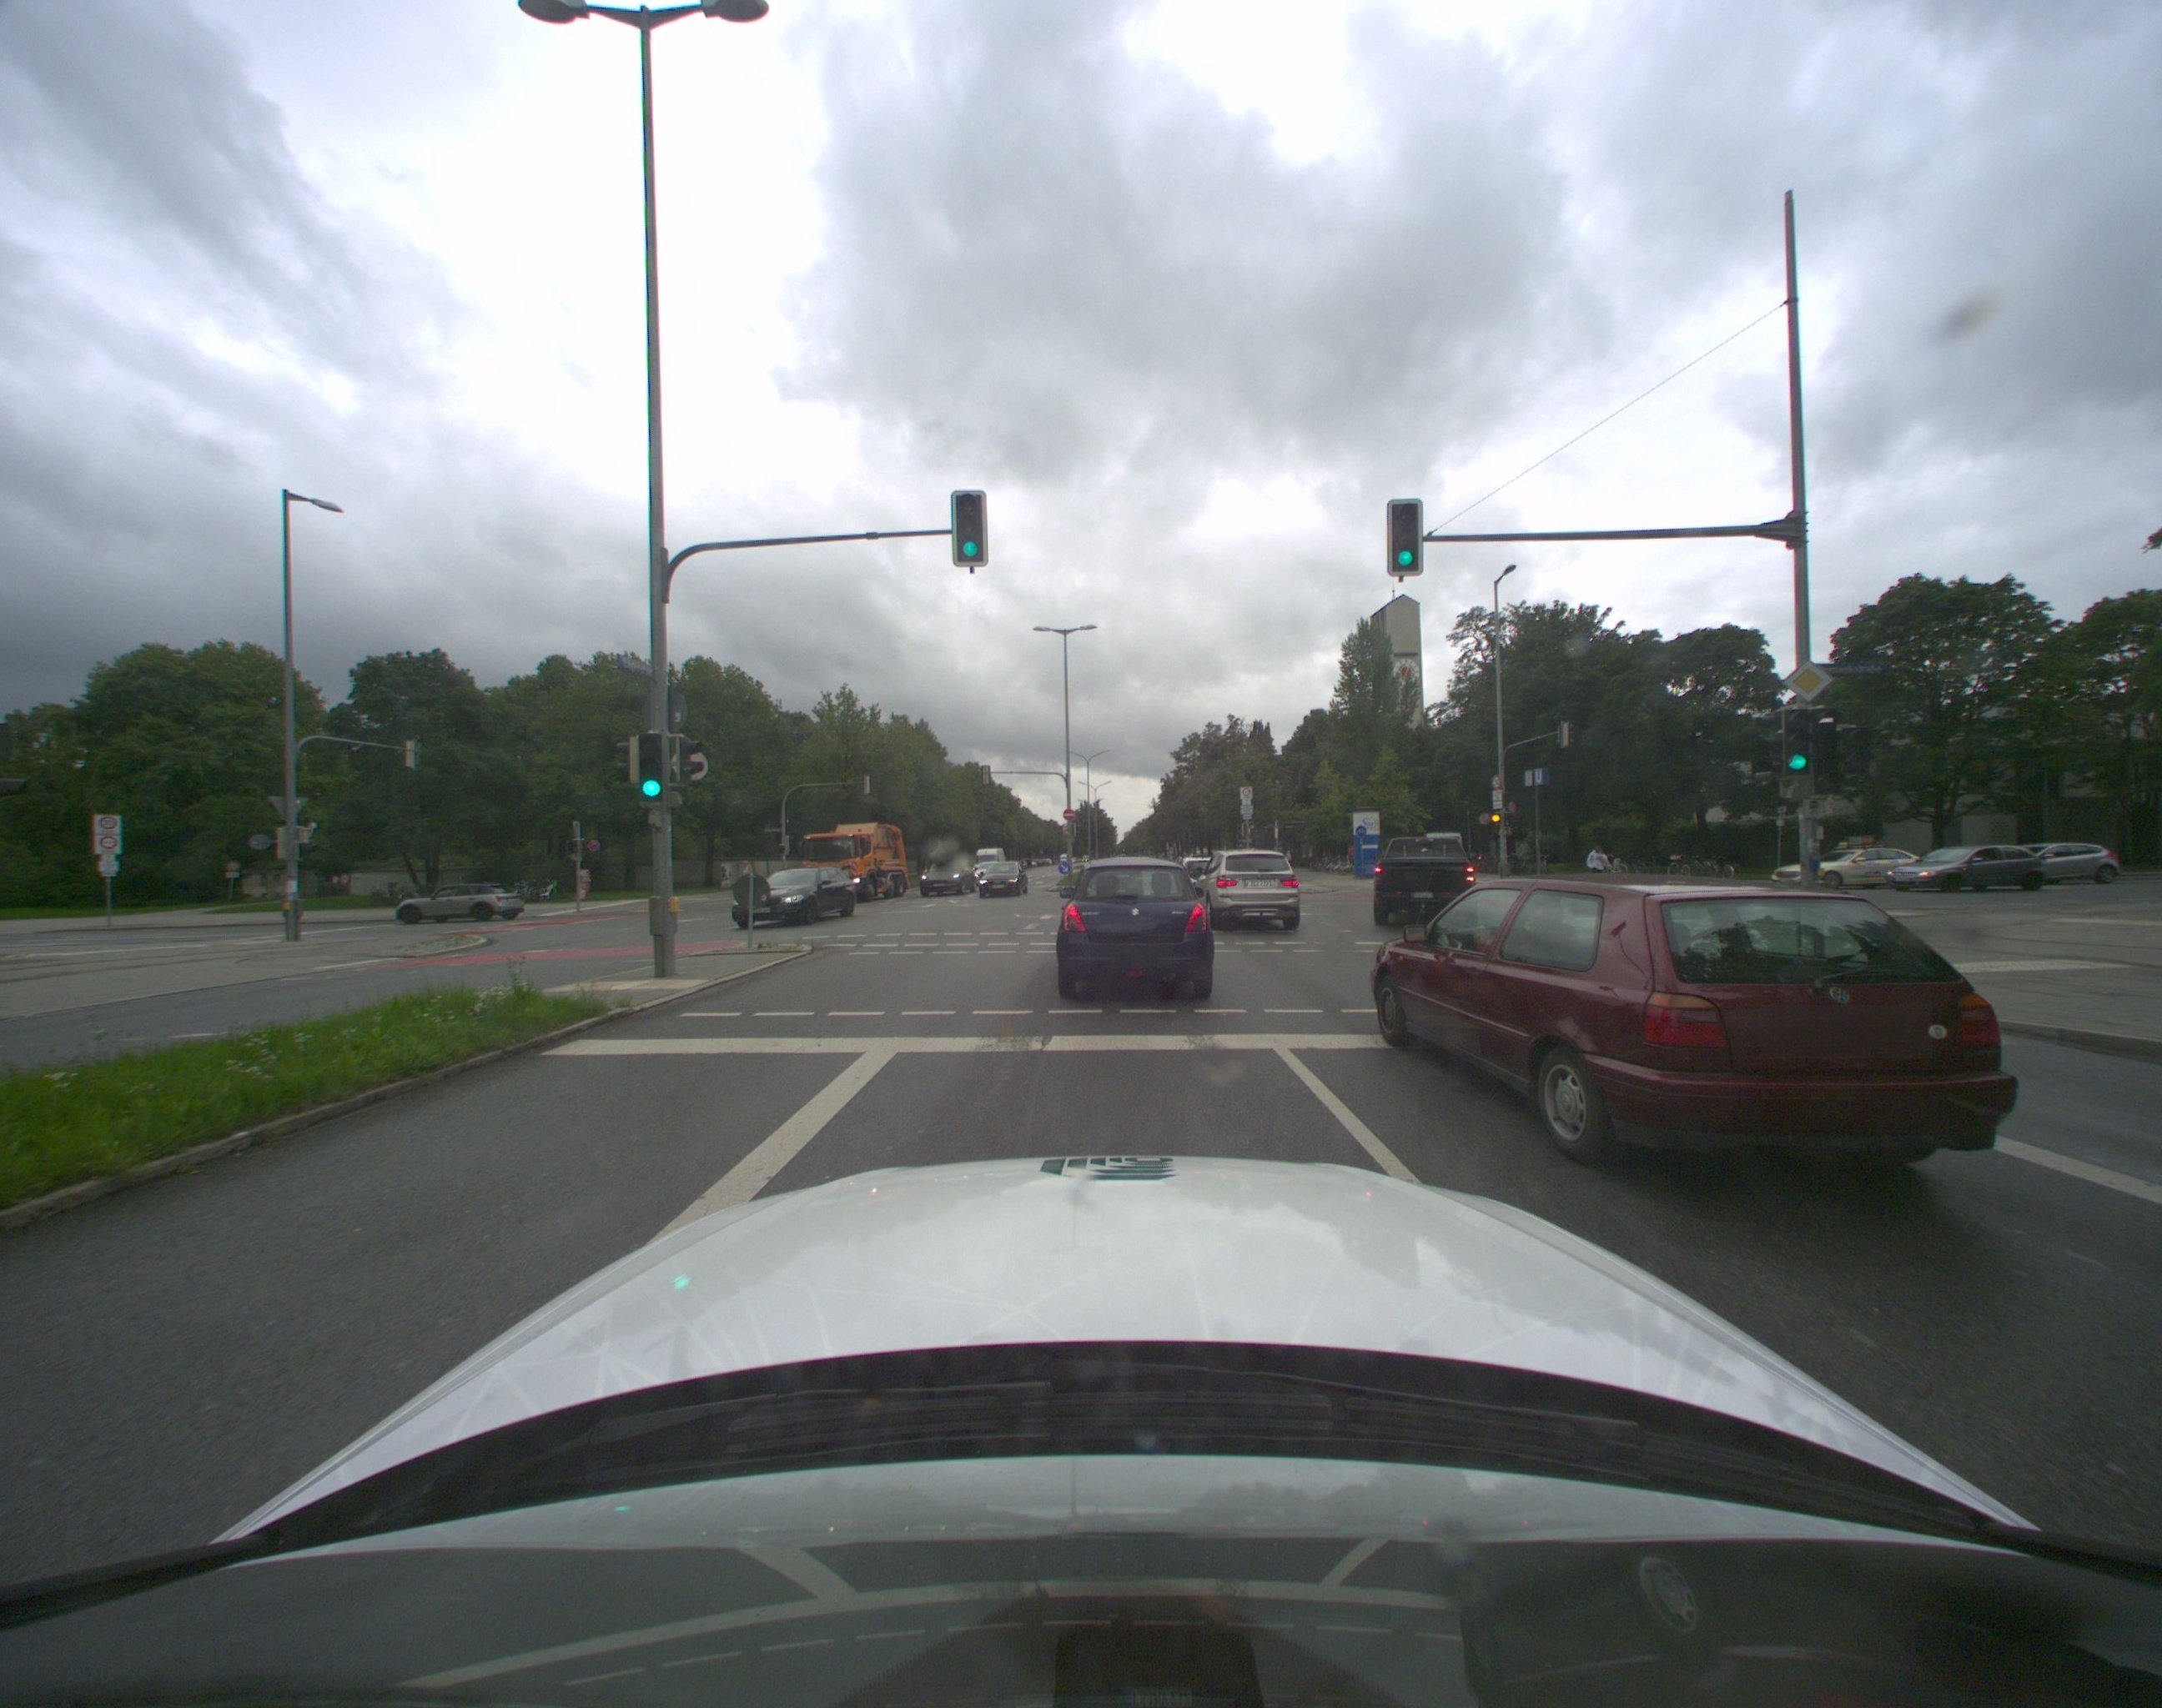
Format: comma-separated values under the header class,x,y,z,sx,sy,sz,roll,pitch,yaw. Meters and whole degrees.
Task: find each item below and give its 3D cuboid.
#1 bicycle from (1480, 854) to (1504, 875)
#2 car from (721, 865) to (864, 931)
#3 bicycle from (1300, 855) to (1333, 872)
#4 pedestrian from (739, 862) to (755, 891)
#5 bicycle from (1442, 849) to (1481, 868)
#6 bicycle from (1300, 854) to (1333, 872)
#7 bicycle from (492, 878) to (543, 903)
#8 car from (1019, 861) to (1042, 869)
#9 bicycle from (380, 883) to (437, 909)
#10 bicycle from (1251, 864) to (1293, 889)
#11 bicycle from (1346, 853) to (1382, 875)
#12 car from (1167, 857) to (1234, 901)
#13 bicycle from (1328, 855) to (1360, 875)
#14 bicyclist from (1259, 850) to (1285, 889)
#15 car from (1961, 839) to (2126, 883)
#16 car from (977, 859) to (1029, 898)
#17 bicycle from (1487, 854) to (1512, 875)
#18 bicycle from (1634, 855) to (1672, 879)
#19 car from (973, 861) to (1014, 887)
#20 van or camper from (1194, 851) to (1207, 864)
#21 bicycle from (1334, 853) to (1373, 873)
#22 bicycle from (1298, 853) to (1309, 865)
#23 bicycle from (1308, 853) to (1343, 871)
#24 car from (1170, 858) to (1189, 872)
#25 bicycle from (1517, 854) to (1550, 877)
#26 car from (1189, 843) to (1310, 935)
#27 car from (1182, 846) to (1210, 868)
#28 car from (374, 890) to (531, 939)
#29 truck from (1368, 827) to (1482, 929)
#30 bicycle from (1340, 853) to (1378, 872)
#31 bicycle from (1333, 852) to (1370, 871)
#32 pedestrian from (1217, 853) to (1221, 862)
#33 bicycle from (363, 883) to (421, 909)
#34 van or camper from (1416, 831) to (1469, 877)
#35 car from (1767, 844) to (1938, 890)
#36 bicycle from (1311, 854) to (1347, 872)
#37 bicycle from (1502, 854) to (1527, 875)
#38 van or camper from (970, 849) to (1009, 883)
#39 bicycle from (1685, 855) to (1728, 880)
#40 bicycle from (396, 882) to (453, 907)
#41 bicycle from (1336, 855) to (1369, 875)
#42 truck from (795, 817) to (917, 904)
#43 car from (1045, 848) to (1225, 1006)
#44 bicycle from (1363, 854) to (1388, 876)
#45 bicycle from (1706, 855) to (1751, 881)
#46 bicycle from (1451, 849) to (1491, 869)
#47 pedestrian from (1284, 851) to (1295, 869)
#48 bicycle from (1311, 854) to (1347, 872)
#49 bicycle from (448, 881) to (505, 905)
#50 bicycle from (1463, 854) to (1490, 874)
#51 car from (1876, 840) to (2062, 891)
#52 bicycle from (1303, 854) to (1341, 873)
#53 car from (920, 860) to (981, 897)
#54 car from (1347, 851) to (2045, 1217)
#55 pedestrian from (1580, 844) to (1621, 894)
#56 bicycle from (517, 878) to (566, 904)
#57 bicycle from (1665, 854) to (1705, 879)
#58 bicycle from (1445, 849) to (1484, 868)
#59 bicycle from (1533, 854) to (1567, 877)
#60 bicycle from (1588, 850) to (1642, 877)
class,x,y,z,sx,sy,sz,roll,pitch,yaw
bicycle,24.110,0.594,47.734,0.709,1.153,2.142,-2,-1,42
car,-7.593,1.088,22.026,1.919,1.462,4.899,-3,0,1
bicycle,18.071,0.693,62.455,2.329,1.157,0.529,-4,0,1
pedestrian,-20.272,1.371,49.454,0.706,1.740,0.517,-1,-1,-3
bicycle,25.838,0.310,55.250,2.329,1.157,0.529,-4,0,1
bicycle,17.794,0.690,61.549,2.336,1.157,0.528,-4,0,-7
bicycle,-28.830,1.861,41.729,0.832,1.186,2.497,-1,0,1
car,-9.529,2.096,154.446,4.014,1.354,1.832,-1,0,-32
bicycle,-34.756,2.169,42.162,0.832,1.186,2.497,-1,0,1
bicycle,8.852,1.036,37.656,1.955,1.081,0.740,-1,-1,-34
bicycle,17.143,0.619,49.335,1.939,1.212,0.565,-3,-1,-9
car,4.225,0.846,29.361,1.844,1.447,4.098,-1,0,1
bicycle,16.568,0.682,51.332,1.794,1.142,0.569,-3,-1,11
bicyclist,8.834,0.695,37.655,0.831,1.764,0.739,-1,-1,-33
car,33.923,0.245,28.771,3.924,1.454,1.627,-1,-1,-1
car,-3.196,0.962,33.912,1.633,1.487,3.783,-1,0,2
bicycle,23.670,0.589,46.045,0.709,1.153,2.142,-2,-1,42
bicycle,26.865,0.610,38.288,0.604,1.095,2.120,-1,0,10
car,-5.445,1.203,51.192,1.720,1.487,4.746,-1,0,3
van or camper,24.616,0.697,168.054,2.016,2.558,5.960,-2,0,3
bicycle,18.405,0.594,55.016,2.329,1.157,0.585,-4,0,1
bicycle,24.963,0.561,91.556,0.642,1.280,2.552,-1,0,3
bicycle,17.719,0.607,59.054,2.329,1.157,0.529,-4,0,1
car,10.686,1.192,88.848,1.711,1.508,4.226,-1,0,2
bicycle,23.791,0.577,42.847,0.713,1.153,2.132,-1,0,5
car,3.558,0.693,17.946,1.844,1.743,4.098,-1,0,1
car,9.317,0.223,66.238,1.740,1.724,4.909,0,0,3
car,-23.844,2.275,31.027,4.341,1.462,1.930,-3,-1,-3
truck,8.038,0.497,19.216,2.080,2.014,5.843,-2,0,22
bicycle,18.970,0.578,55.650,2.329,1.157,0.585,-4,0,1
bicycle,18.855,0.537,56.730,2.329,1.157,0.585,-4,0,1
pedestrian,27.489,0.753,162.357,0.572,1.751,0.733,-1,-1,7
bicycle,-35.768,2.169,42.345,0.832,1.186,2.497,-1,0,1
van or camper,19.576,0.007,44.356,2.123,2.296,6.230,-1,0,20
car,27.097,0.444,28.706,4.288,1.497,1.886,-1,0,-1
bicycle,17.648,0.622,57.954,2.329,1.157,0.529,-4,0,1
bicycle,24.235,0.586,45.483,0.709,1.153,2.142,-2,-1,42
van or camper,-7.722,0.955,69.580,2.169,2.647,6.954,-3,0,2
bicycle,28.260,0.600,36.842,0.604,1.095,2.120,-1,0,10
bicycle,-33.677,2.064,41.836,0.832,1.186,2.497,-1,0,1
bicycle,16.646,0.675,49.929,1.806,1.142,0.565,-3,-1,-9
truck,-9.596,0.299,35.703,2.767,3.356,7.275,-1,-1,5
car,0.580,0.751,10.241,1.783,1.555,4.000,-1,0,1
bicycle,16.809,0.615,46.489,0.857,1.198,2.003,-3,-1,7
bicycle,28.832,0.597,36.297,0.604,1.095,2.120,-1,0,10
bicycle,25.576,0.303,53.388,2.329,1.157,0.529,-4,0,1
pedestrian,17.733,0.490,69.279,0.579,1.513,0.690,-1,-1,-16
bicycle,17.814,0.634,58.500,2.329,1.157,0.529,-4,0,1
bicycle,-32.699,2.104,44.123,0.832,1.186,2.885,-1,0,1
bicycle,23.904,0.600,49.212,2.141,1.153,0.710,-1,-1,-43
car,27.467,0.356,25.288,3.922,1.454,1.628,-1,-1,1
bicycle,16.592,0.646,56.106,2.329,1.157,0.585,-4,0,1
car,-6.009,1.087,38.091,1.854,1.542,4.752,-1,0,3
car,3.134,0.743,5.280,1.616,1.454,3.951,-1,0,2
pedestrian,18.234,0.522,28.604,0.759,1.703,0.937,-1,-1,-7
bicycle,-27.649,1.871,41.792,0.832,1.186,2.497,-1,0,1
bicycle,27.511,0.560,37.100,0.604,1.095,2.121,-1,0,12
bicycle,25.690,0.308,54.563,2.329,1.157,0.529,-4,0,1
bicycle,24.608,0.573,42.757,0.693,1.153,2.132,-1,0,5
bicycle,25.775,0.461,39.347,0.704,1.250,2.098,-1,0,-24
